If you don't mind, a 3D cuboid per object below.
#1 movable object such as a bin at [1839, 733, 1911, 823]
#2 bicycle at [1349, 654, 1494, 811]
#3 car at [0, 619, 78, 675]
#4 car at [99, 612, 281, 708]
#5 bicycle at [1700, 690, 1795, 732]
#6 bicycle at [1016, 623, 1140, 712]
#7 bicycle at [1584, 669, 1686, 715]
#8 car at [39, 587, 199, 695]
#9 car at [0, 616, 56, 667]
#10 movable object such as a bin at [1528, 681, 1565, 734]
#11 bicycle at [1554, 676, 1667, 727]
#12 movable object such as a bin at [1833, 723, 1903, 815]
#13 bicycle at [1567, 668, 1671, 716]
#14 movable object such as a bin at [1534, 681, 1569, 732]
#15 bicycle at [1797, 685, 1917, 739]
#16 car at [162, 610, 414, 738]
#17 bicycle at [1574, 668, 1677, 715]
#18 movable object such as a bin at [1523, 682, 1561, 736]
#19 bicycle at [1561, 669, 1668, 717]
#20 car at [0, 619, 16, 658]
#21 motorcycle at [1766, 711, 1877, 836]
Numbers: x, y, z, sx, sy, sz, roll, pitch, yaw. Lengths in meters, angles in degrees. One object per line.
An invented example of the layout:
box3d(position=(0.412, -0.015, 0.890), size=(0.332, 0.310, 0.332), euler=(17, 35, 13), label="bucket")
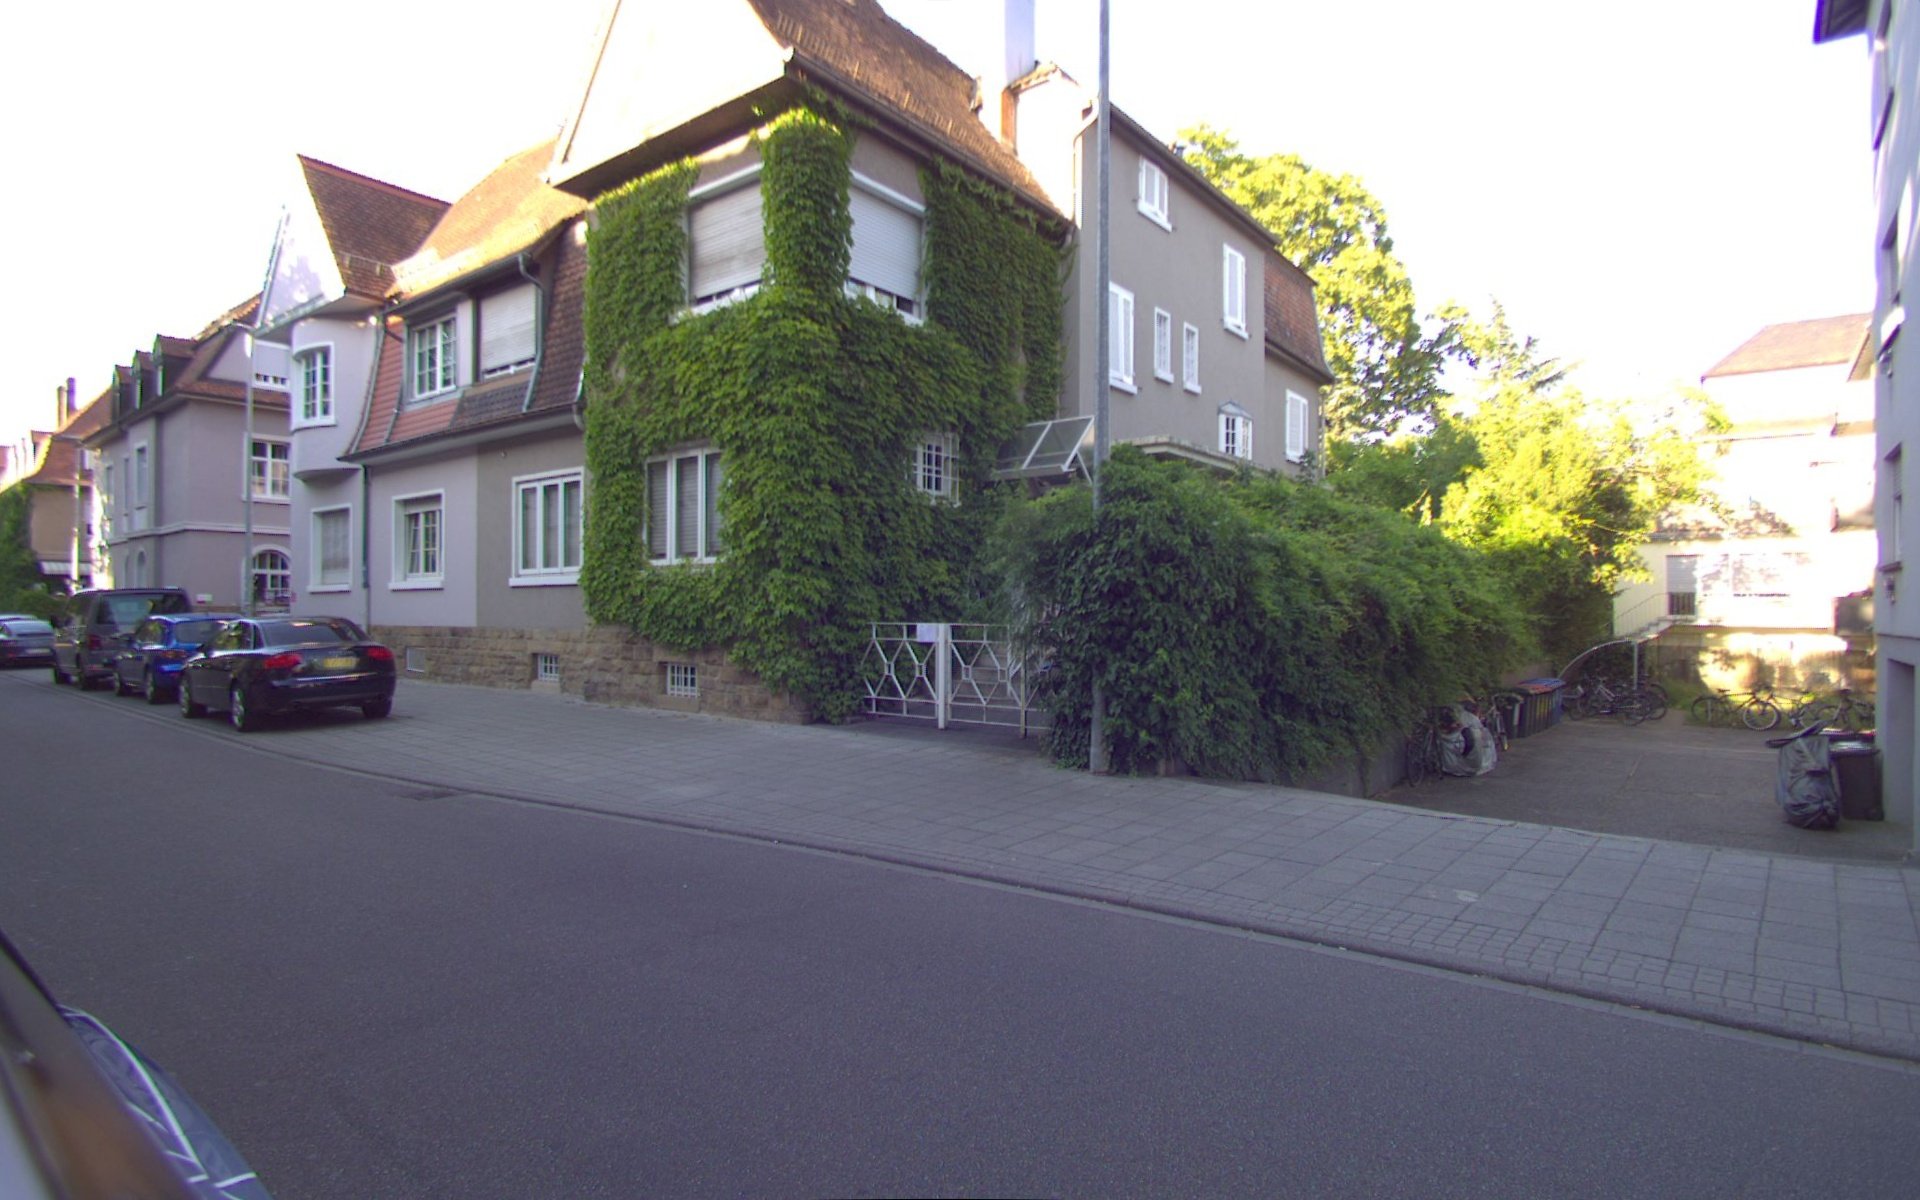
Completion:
box3d(position=(11.712, 2.263, 12.967), size=(0.611, 1.045, 0.532), euler=(-1, -4, 37), label="movable object such as a bin")
box3d(position=(6.820, 1.776, 14.754), size=(0.971, 1.907, 4.138), euler=(-1, -3, 38), label="bicycle")
box3d(position=(-26.162, 1.260, 28.300), size=(4.063, 1.394, 1.906), euler=(-1, 1, 44), label="car")
box3d(position=(-13.640, 0.976, 17.848), size=(4.060, 1.457, 1.745), euler=(-1, 1, 41), label="car")
box3d(position=(18.890, 2.656, 24.301), size=(1.754, 0.886, 0.558), euler=(-1, -4, 42), label="bicycle")
box3d(position=(1.697, 0.904, 14.187), size=(0.476, 1.111, 2.172), euler=(-1, -1, 45), label="bicycle")
box3d(position=(19.197, 2.591, 28.830), size=(2.338, 1.186, 0.685), euler=(-1, -4, 42), label="bicycle")
box3d(position=(-17.529, 0.782, 21.018), size=(4.610, 1.990, 1.819), euler=(-1, 1, 41), label="car")
box3d(position=(-30.176, 1.290, 32.034), size=(4.061, 1.478, 1.907), euler=(-1, 1, 42), label="car")
box3d(position=(13.174, 2.406, 22.717), size=(0.611, 1.123, 0.792), euler=(-1, -4, 37), label="movable object such as a bin")
box3d(position=(16.237, 2.513, 25.303), size=(2.294, 1.142, 0.685), euler=(-1, -4, 42), label="bicycle")
box3d(position=(12.295, 2.268, 13.729), size=(0.611, 1.123, 0.792), euler=(-1, -4, 37), label="movable object such as a bin")
box3d(position=(18.055, 2.497, 27.768), size=(2.338, 1.186, 0.685), euler=(-1, -4, 42), label="bicycle")
box3d(position=(13.645, 2.439, 23.349), size=(0.611, 1.123, 0.792), euler=(-1, -4, 37), label="movable object such as a bin")
box3d(position=(20.367, 2.531, 23.027), size=(2.005, 1.080, 0.558), euler=(-1, -4, 42), label="bicycle")
box3d(position=(-9.425, 0.906, 14.048), size=(4.426, 1.457, 1.783), euler=(-1, 1, 41), label="car")
box3d(position=(18.614, 2.534, 28.336), size=(2.338, 1.186, 0.685), euler=(-1, -4, 42), label="bicycle")
box3d(position=(12.698, 2.371, 22.075), size=(0.611, 1.123, 0.792), euler=(-1, -4, 37), label="movable object such as a bin")
box3d(position=(17.503, 2.468, 27.116), size=(2.338, 1.142, 0.685), euler=(-1, -4, 42), label="bicycle")
box3d(position=(-36.327, 1.434, 37.512), size=(3.676, 1.372, 1.641), euler=(-1, 1, 42), label="car")
box3d(position=(10.703, 2.108, 12.626), size=(0.742, 1.305, 1.565), euler=(-1, -2, 30), label="motorcycle")
